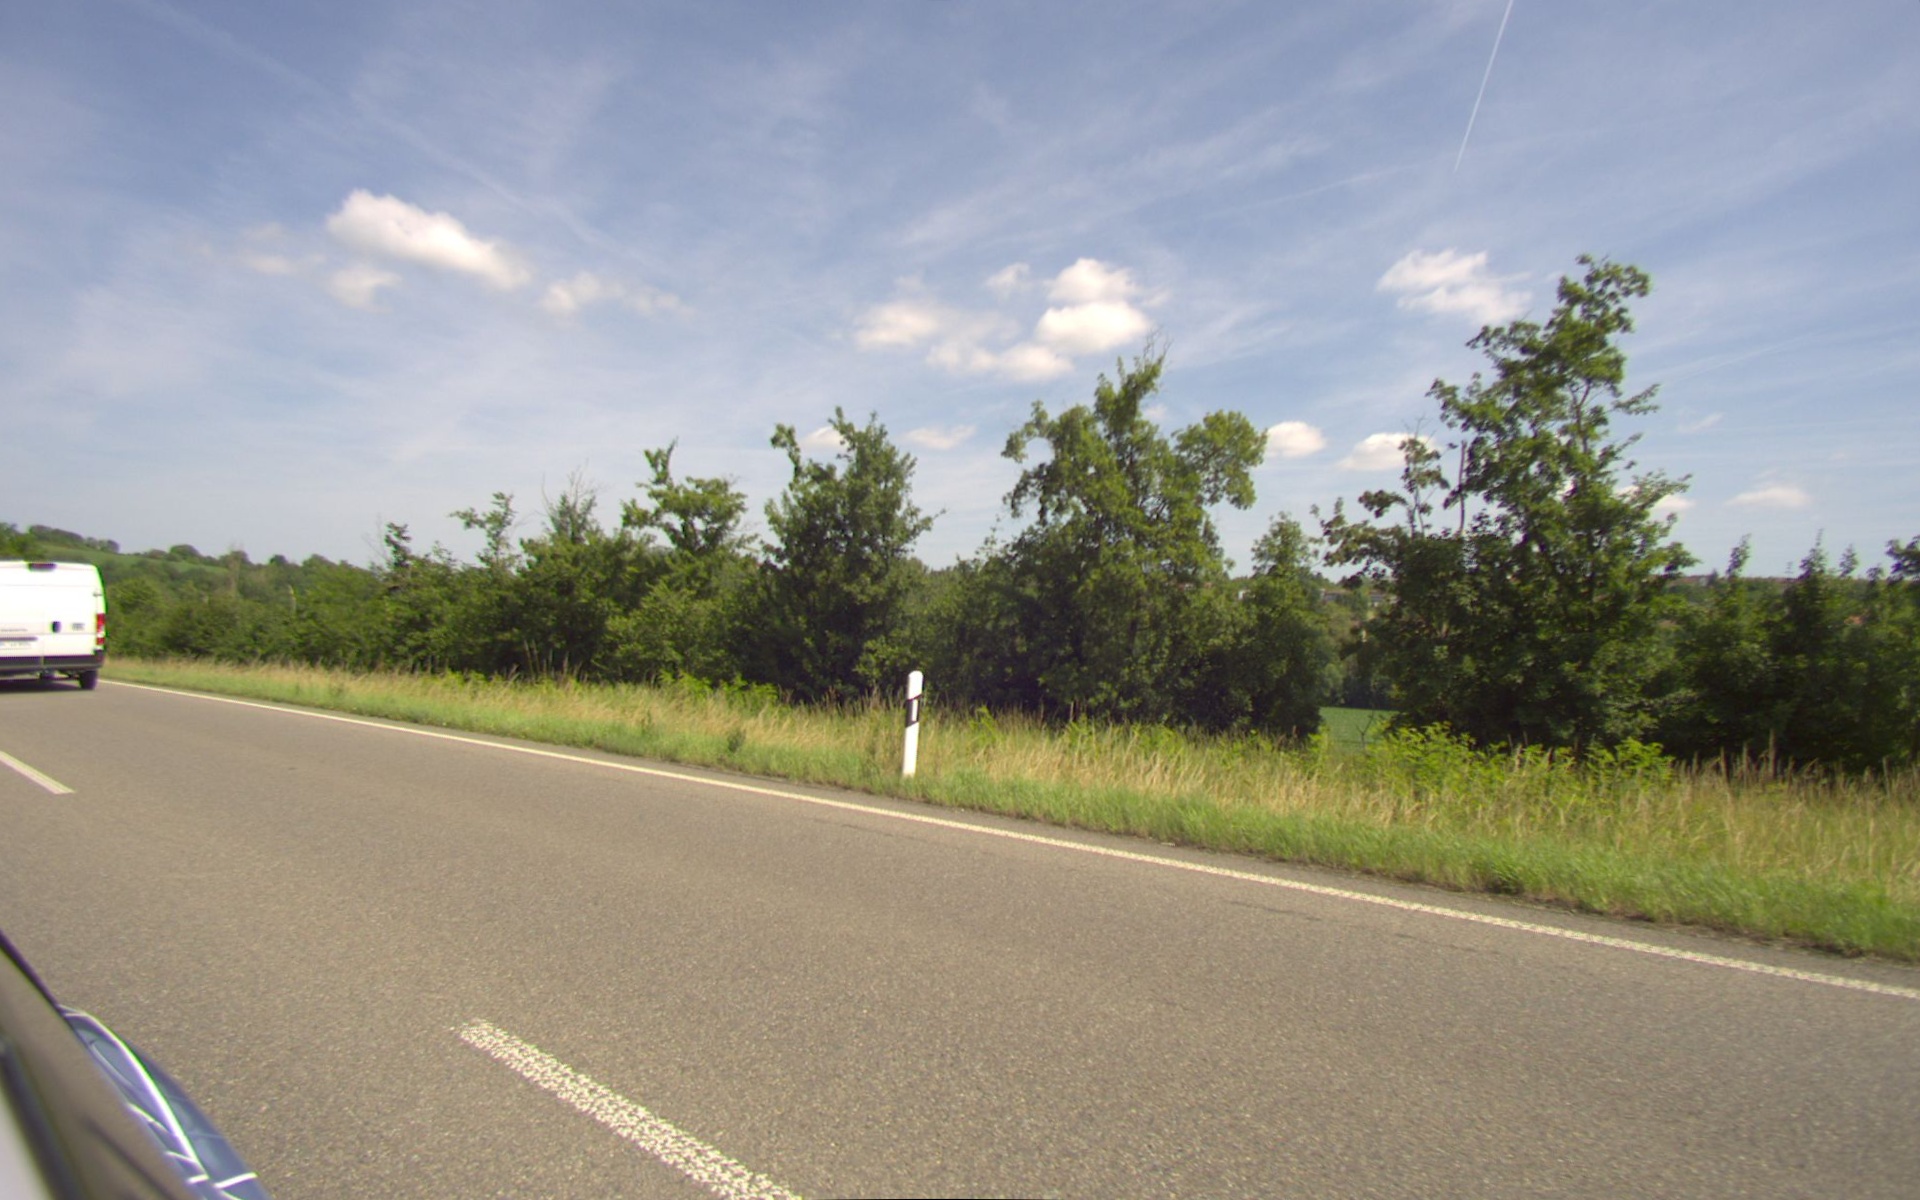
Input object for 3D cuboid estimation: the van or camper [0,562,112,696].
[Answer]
[{"bbox_3d":[-20.330,0.600,21.688,6.127,2.547,2.186,-1,-1,39],"label":"van or camper"}]
